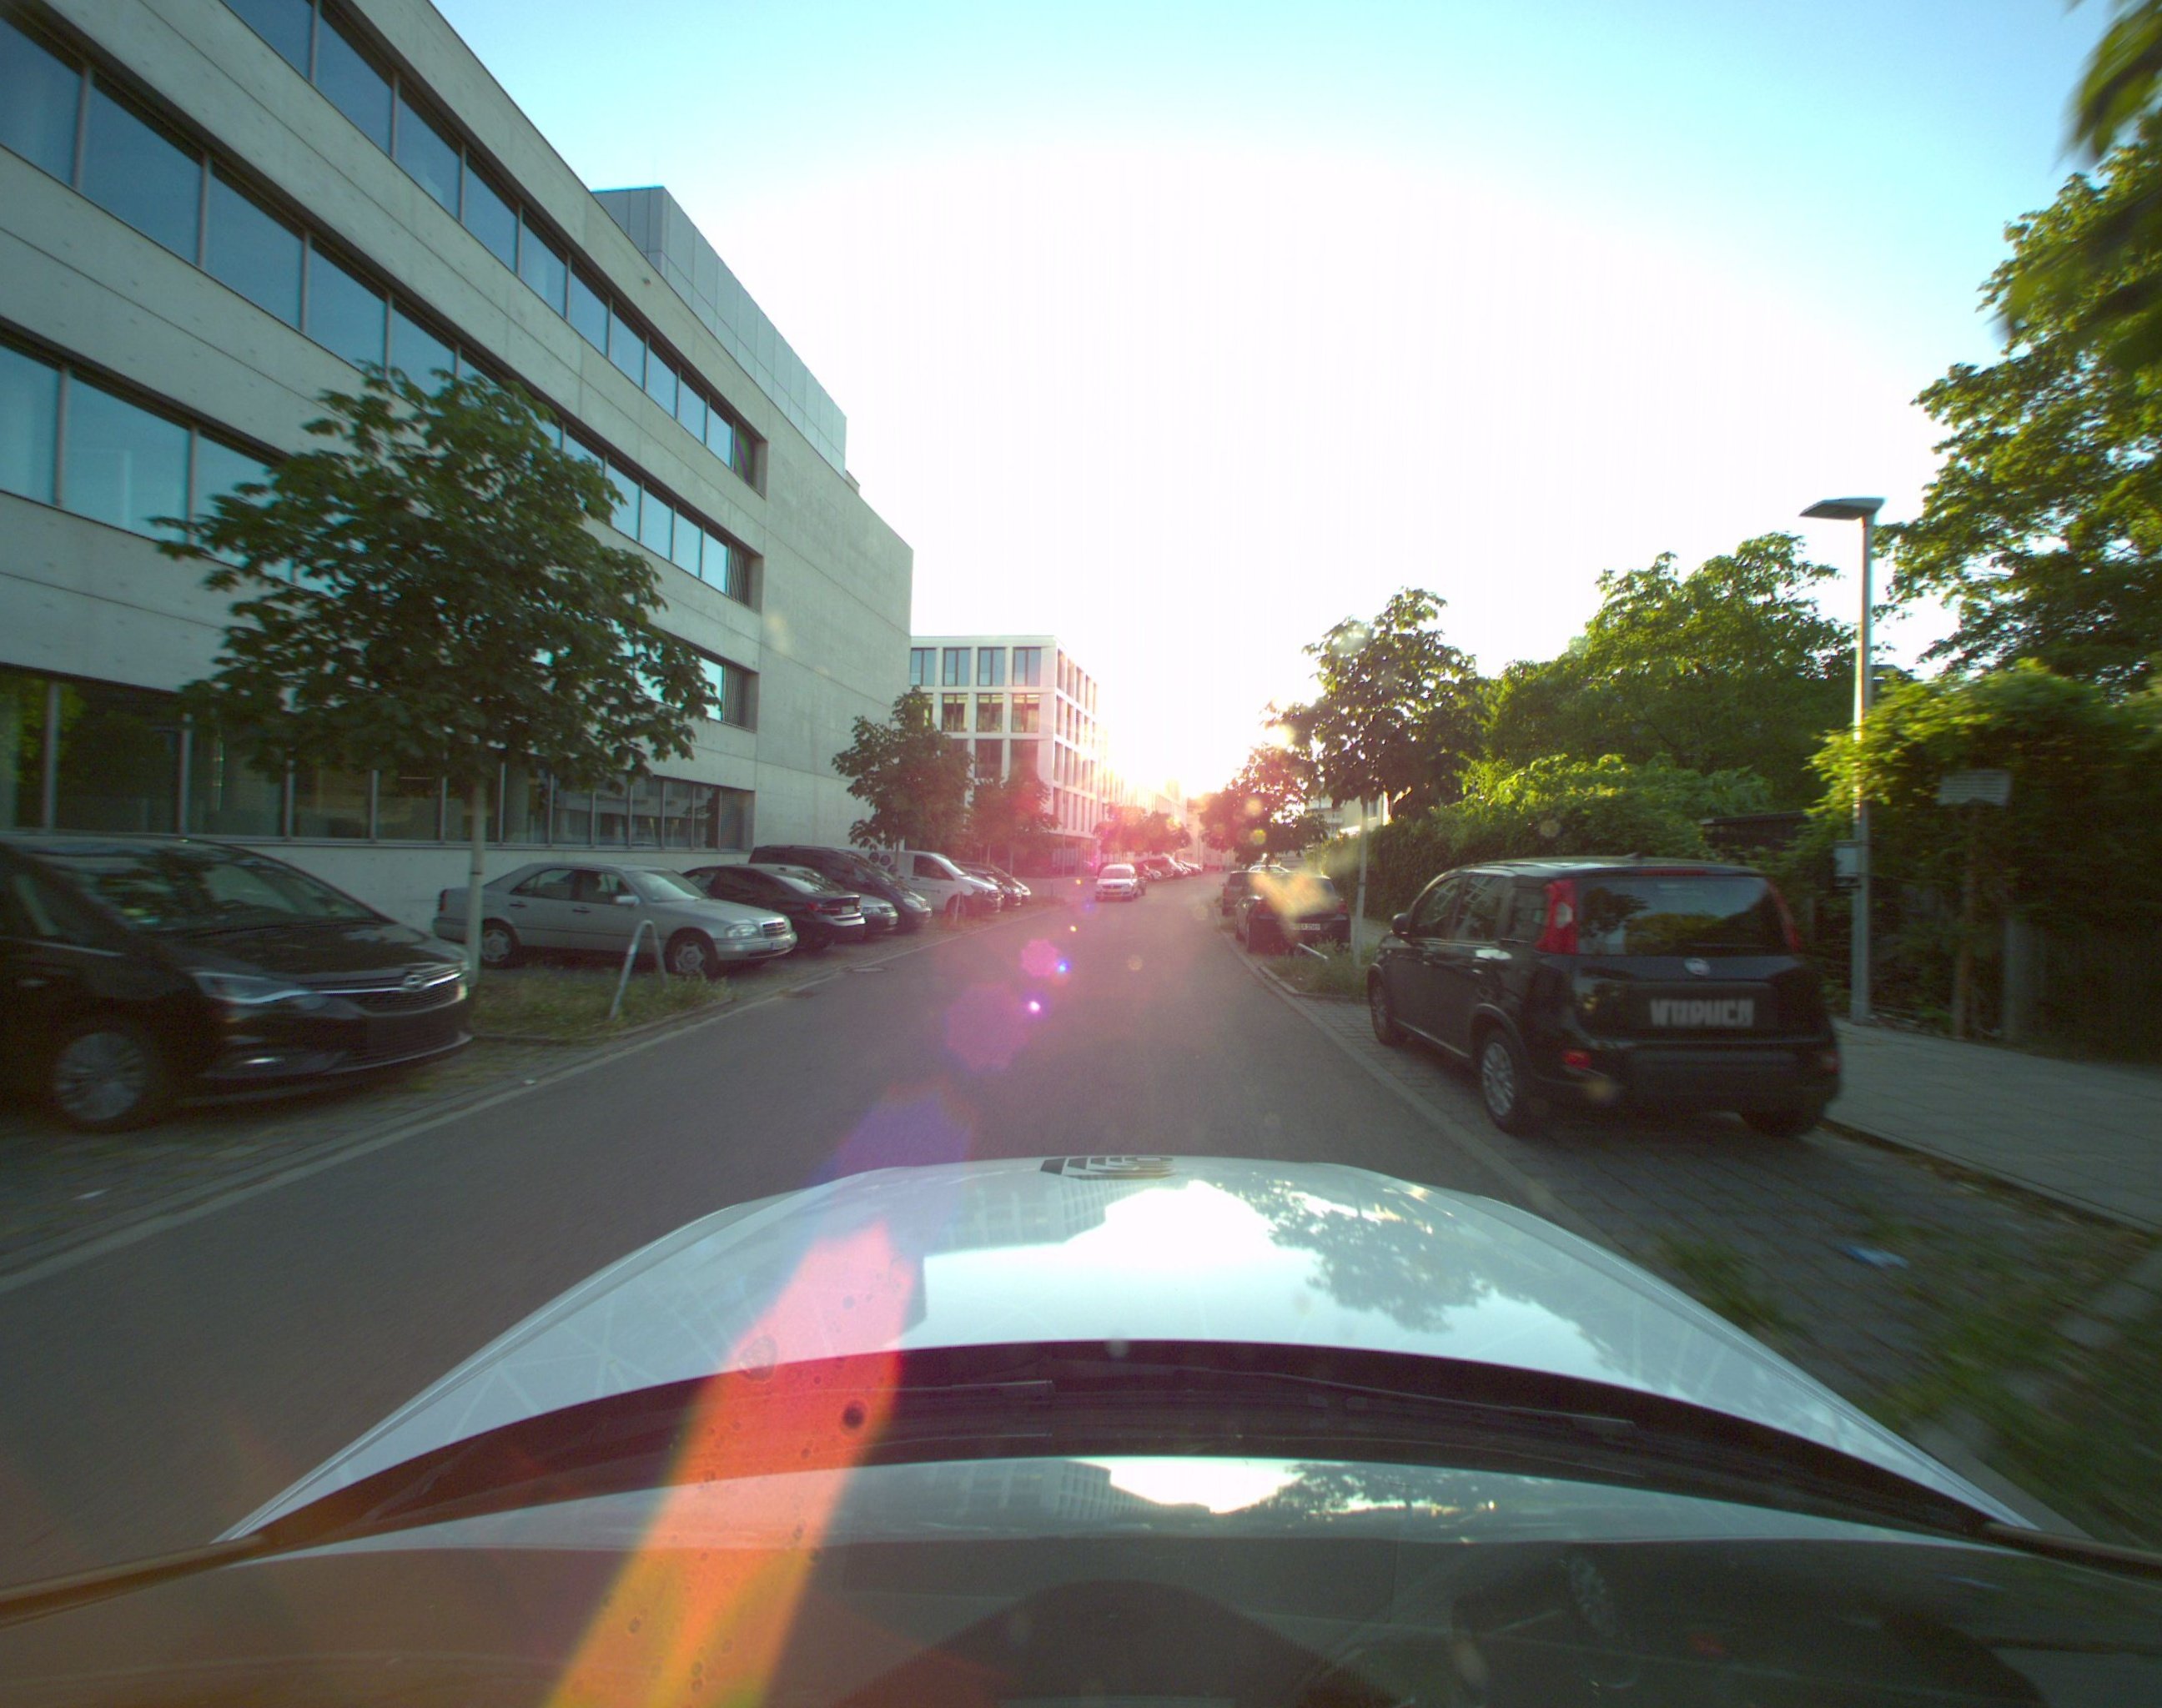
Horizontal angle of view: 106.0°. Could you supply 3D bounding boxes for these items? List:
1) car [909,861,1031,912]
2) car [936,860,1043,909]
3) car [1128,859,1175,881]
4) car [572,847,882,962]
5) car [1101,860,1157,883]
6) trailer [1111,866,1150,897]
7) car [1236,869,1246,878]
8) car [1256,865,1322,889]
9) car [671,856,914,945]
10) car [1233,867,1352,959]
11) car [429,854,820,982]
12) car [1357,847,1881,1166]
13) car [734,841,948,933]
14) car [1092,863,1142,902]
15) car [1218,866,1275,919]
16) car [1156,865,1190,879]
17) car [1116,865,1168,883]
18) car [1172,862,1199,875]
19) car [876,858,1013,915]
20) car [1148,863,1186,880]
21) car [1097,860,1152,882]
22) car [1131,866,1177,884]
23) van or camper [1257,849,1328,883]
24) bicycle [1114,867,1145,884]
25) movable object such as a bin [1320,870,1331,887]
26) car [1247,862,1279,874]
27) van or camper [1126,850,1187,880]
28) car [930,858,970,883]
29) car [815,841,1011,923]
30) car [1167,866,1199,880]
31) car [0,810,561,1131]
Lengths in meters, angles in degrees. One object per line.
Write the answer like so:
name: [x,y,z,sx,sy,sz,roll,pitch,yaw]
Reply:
car: [-3.846,1.116,28.609,3.865,1.488,1.654,3,0,7]
car: [-3.466,1.140,31.141,3.611,1.577,1.666,3,0,12]
car: [6.233,1.403,72.030,4.025,1.908,1.741,0,0,10]
car: [-5.822,0.790,13.636,4.372,1.499,1.767,3,-1,9]
car: [3.662,1.290,61.941,4.024,1.479,1.773,3,1,11]
trailer: [2.648,1.402,42.782,1.696,1.348,3.496,3,1,8]
car: [31.200,3.748,158.900,1.937,1.585,3.652,1,-1,12]
car: [13.380,1.494,52.592,4.026,1.479,1.772,0,0,8]
car: [-5.658,0.884,16.257,4.124,1.404,1.727,4,-1,5]
car: [3.918,1.011,15.687,1.684,1.510,4.200,0,-1,7]
car: [-6.128,0.804,11.243,4.413,1.464,1.765,2,0,5]
car: [3.174,0.749,5.687,1.570,1.510,3.500,0,-1,5]
car: [-5.389,0.729,18.606,4.226,1.742,1.727,4,-1,5]
car: [1.763,1.272,38.131,1.942,1.686,4.732,0,-1,7]
car: [5.586,1.236,27.598,1.713,1.580,4.612,1,-1,11]
car: [9.978,1.945,88.551,3.534,1.479,1.463,0,0,14]
car: [5.032,1.637,67.108,4.021,1.479,1.774,0,0,14]
car: [12.499,1.708,97.021,2.993,1.421,1.463,0,0,14]
car: [-4.327,1.018,26.217,3.968,1.522,1.608,4,-1,5]
car: [8.600,1.748,81.536,3.534,1.652,1.463,0,0,14]
car: [3.481,1.337,64.848,4.021,1.479,1.774,3,0,14]
car: [6.676,1.911,74.545,4.025,1.524,1.741,0,0,10]
van or camper: [17.691,0.993,68.305,5.576,2.790,2.436,0,0,9]
bicycle: [3.586,1.588,59.812,2.163,1.174,0.814,1,-1,13]
movable object such as a bin: [15.217,1.513,50.635,0.575,1.010,0.690,1,0,9]
car: [24.159,1.826,108.424,4.026,1.479,1.772,0,0,8]
van or camper: [7.172,1.004,76.886,5.414,2.484,1.782,3,1,14]
car: [-8.742,1.090,54.578,1.713,1.485,3.558,1,2,7]
car: [-4.751,0.774,23.459,5.050,1.946,1.892,4,-1,6]
car: [11.893,2.198,94.648,3.534,1.479,1.463,0,0,14]
car: [-6.279,0.602,5.448,4.293,1.696,1.897,2,-1,1]
